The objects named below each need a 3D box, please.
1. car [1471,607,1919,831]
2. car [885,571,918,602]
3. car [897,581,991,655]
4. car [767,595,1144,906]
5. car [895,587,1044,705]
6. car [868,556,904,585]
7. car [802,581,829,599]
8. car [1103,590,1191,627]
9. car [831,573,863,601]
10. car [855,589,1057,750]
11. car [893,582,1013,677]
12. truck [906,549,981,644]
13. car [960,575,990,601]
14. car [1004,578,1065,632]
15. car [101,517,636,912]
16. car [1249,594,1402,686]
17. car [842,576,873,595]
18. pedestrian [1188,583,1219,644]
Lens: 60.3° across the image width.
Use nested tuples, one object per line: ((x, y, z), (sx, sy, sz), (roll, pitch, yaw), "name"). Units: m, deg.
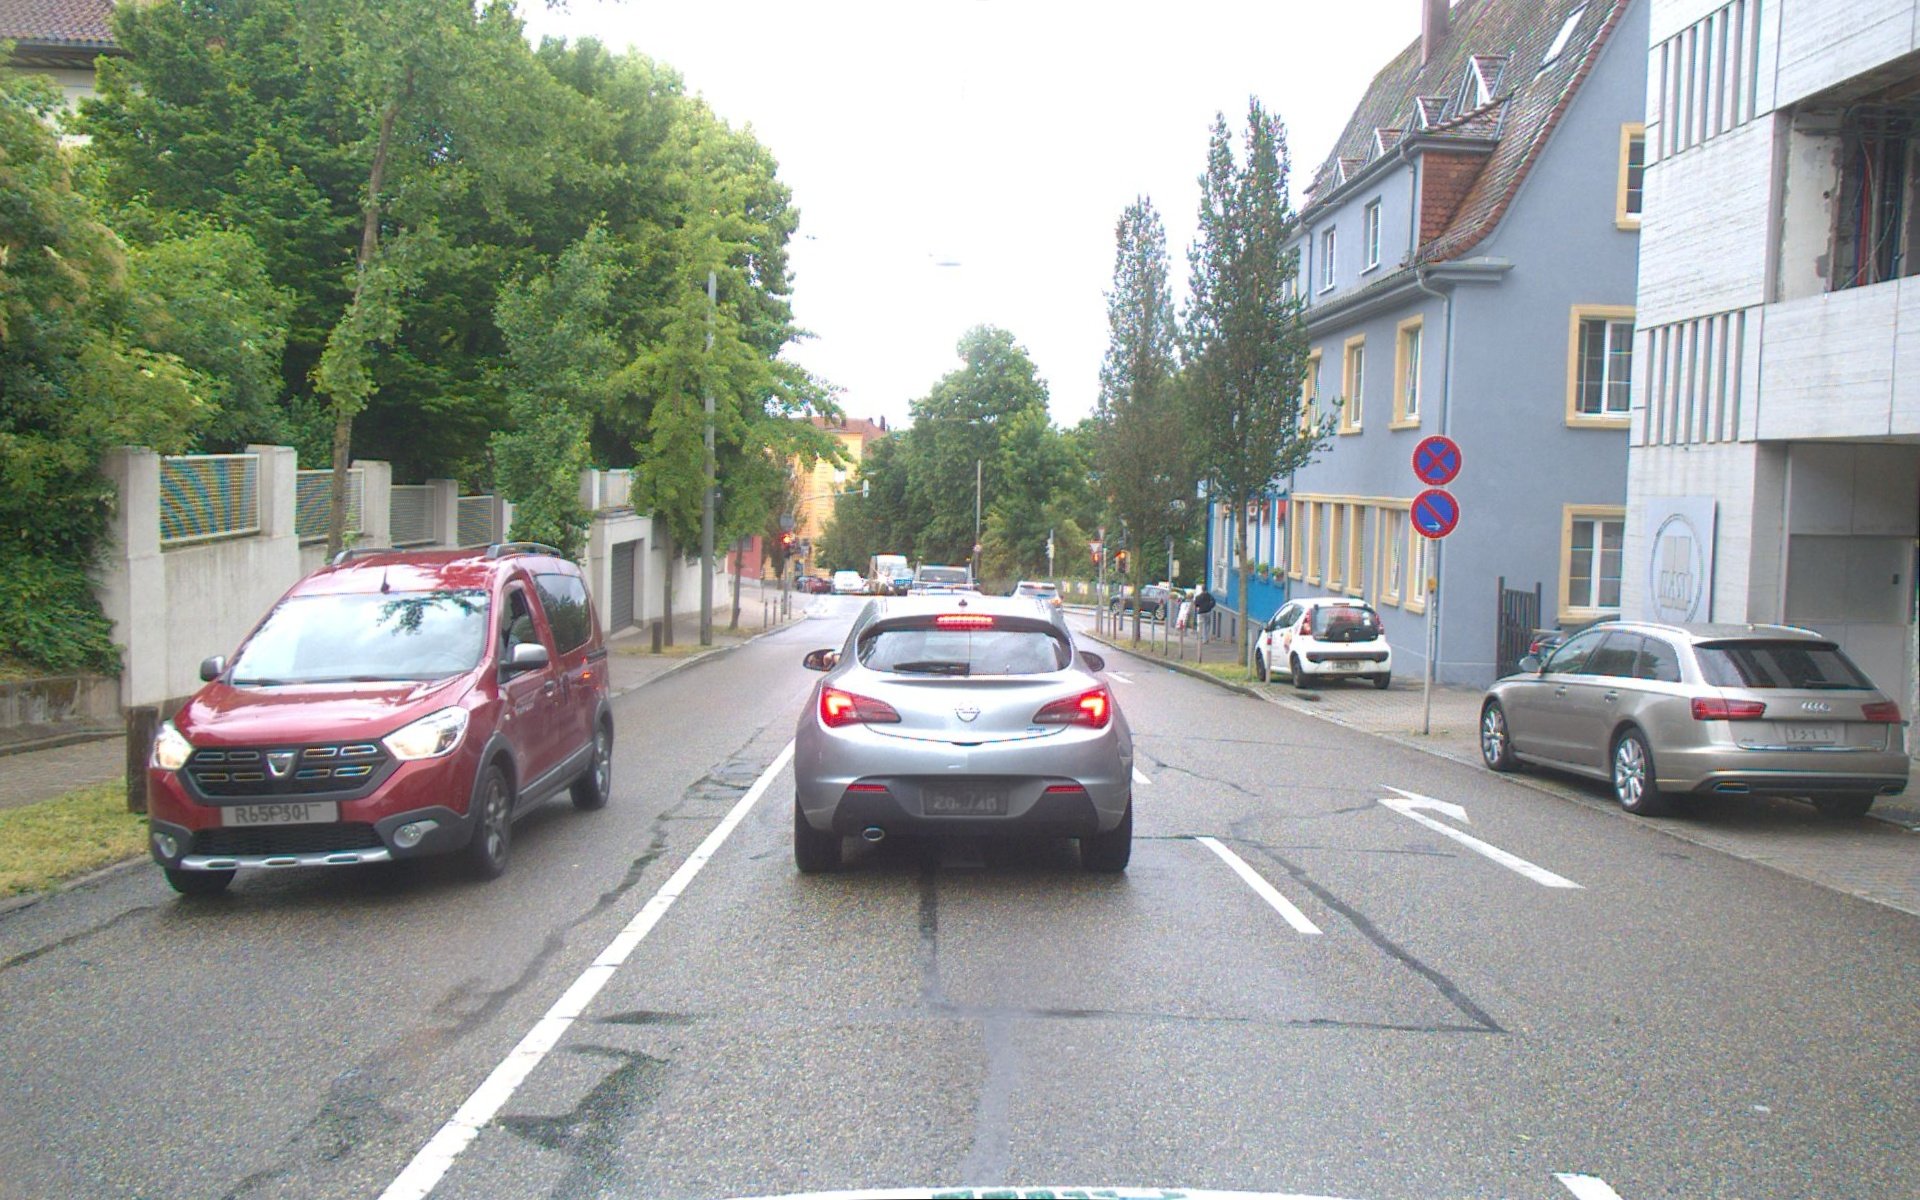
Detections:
((6.048, 0.851, 13.902), (1.923, 1.473, 4.524), (1, 1, -3), "car")
((-3.270, -0.771, 92.562), (1.833, 1.666, 3.878), (0, 0, -2), "car")
((-0.404, 0.352, 37.087), (1.922, 1.473, 4.304), (2, 1, -2), "car")
((-0.103, 0.727, 9.952), (1.800, 1.459, 3.878), (1, 0, -3), "car")
((0.057, 0.592, 24.053), (1.922, 1.473, 4.304), (2, 1, -2), "car")
((-4.503, -1.777, 100.180), (1.691, 1.666, 3.871), (0, 0, -9), "car")
((-13.799, -0.994, 157.903), (1.696, 1.666, 3.859), (0, 0, -18), "car")
((8.834, 0.388, 78.131), (3.791, 1.666, 1.727), (1, 0, 26), "car")
((-6.301, -0.720, 92.496), (1.688, 1.485, 3.878), (0, 0, -2), "car")
((-0.107, 0.665, 18.329), (1.922, 1.473, 4.304), (2, 1, -2), "car")
((-0.186, 0.465, 29.430), (1.922, 1.473, 4.304), (2, 1, -2), "car")
((-0.524, -0.132, 47.085), (1.922, 2.471, 4.934), (2, 1, -2), "truck")
((0.983, -0.806, 108.920), (1.689, 1.666, 3.876), (0, 0, -4), "car")
((2.441, 0.151, 55.161), (1.688, 1.744, 3.878), (0, 0, -3), "car")
((-3.248, 0.542, 10.098), (1.711, 1.860, 4.458), (-1, 0, -1), "car")
((6.281, 0.641, 28.786), (1.688, 1.473, 3.878), (0, 0, -2), "car")
((-8.636, -1.206, 139.216), (1.696, 1.570, 3.859), (0, 0, -18), "car")
((7.185, 0.382, 48.806), (0.767, 1.759, 0.650), (2, 0, -1), "pedestrian")
